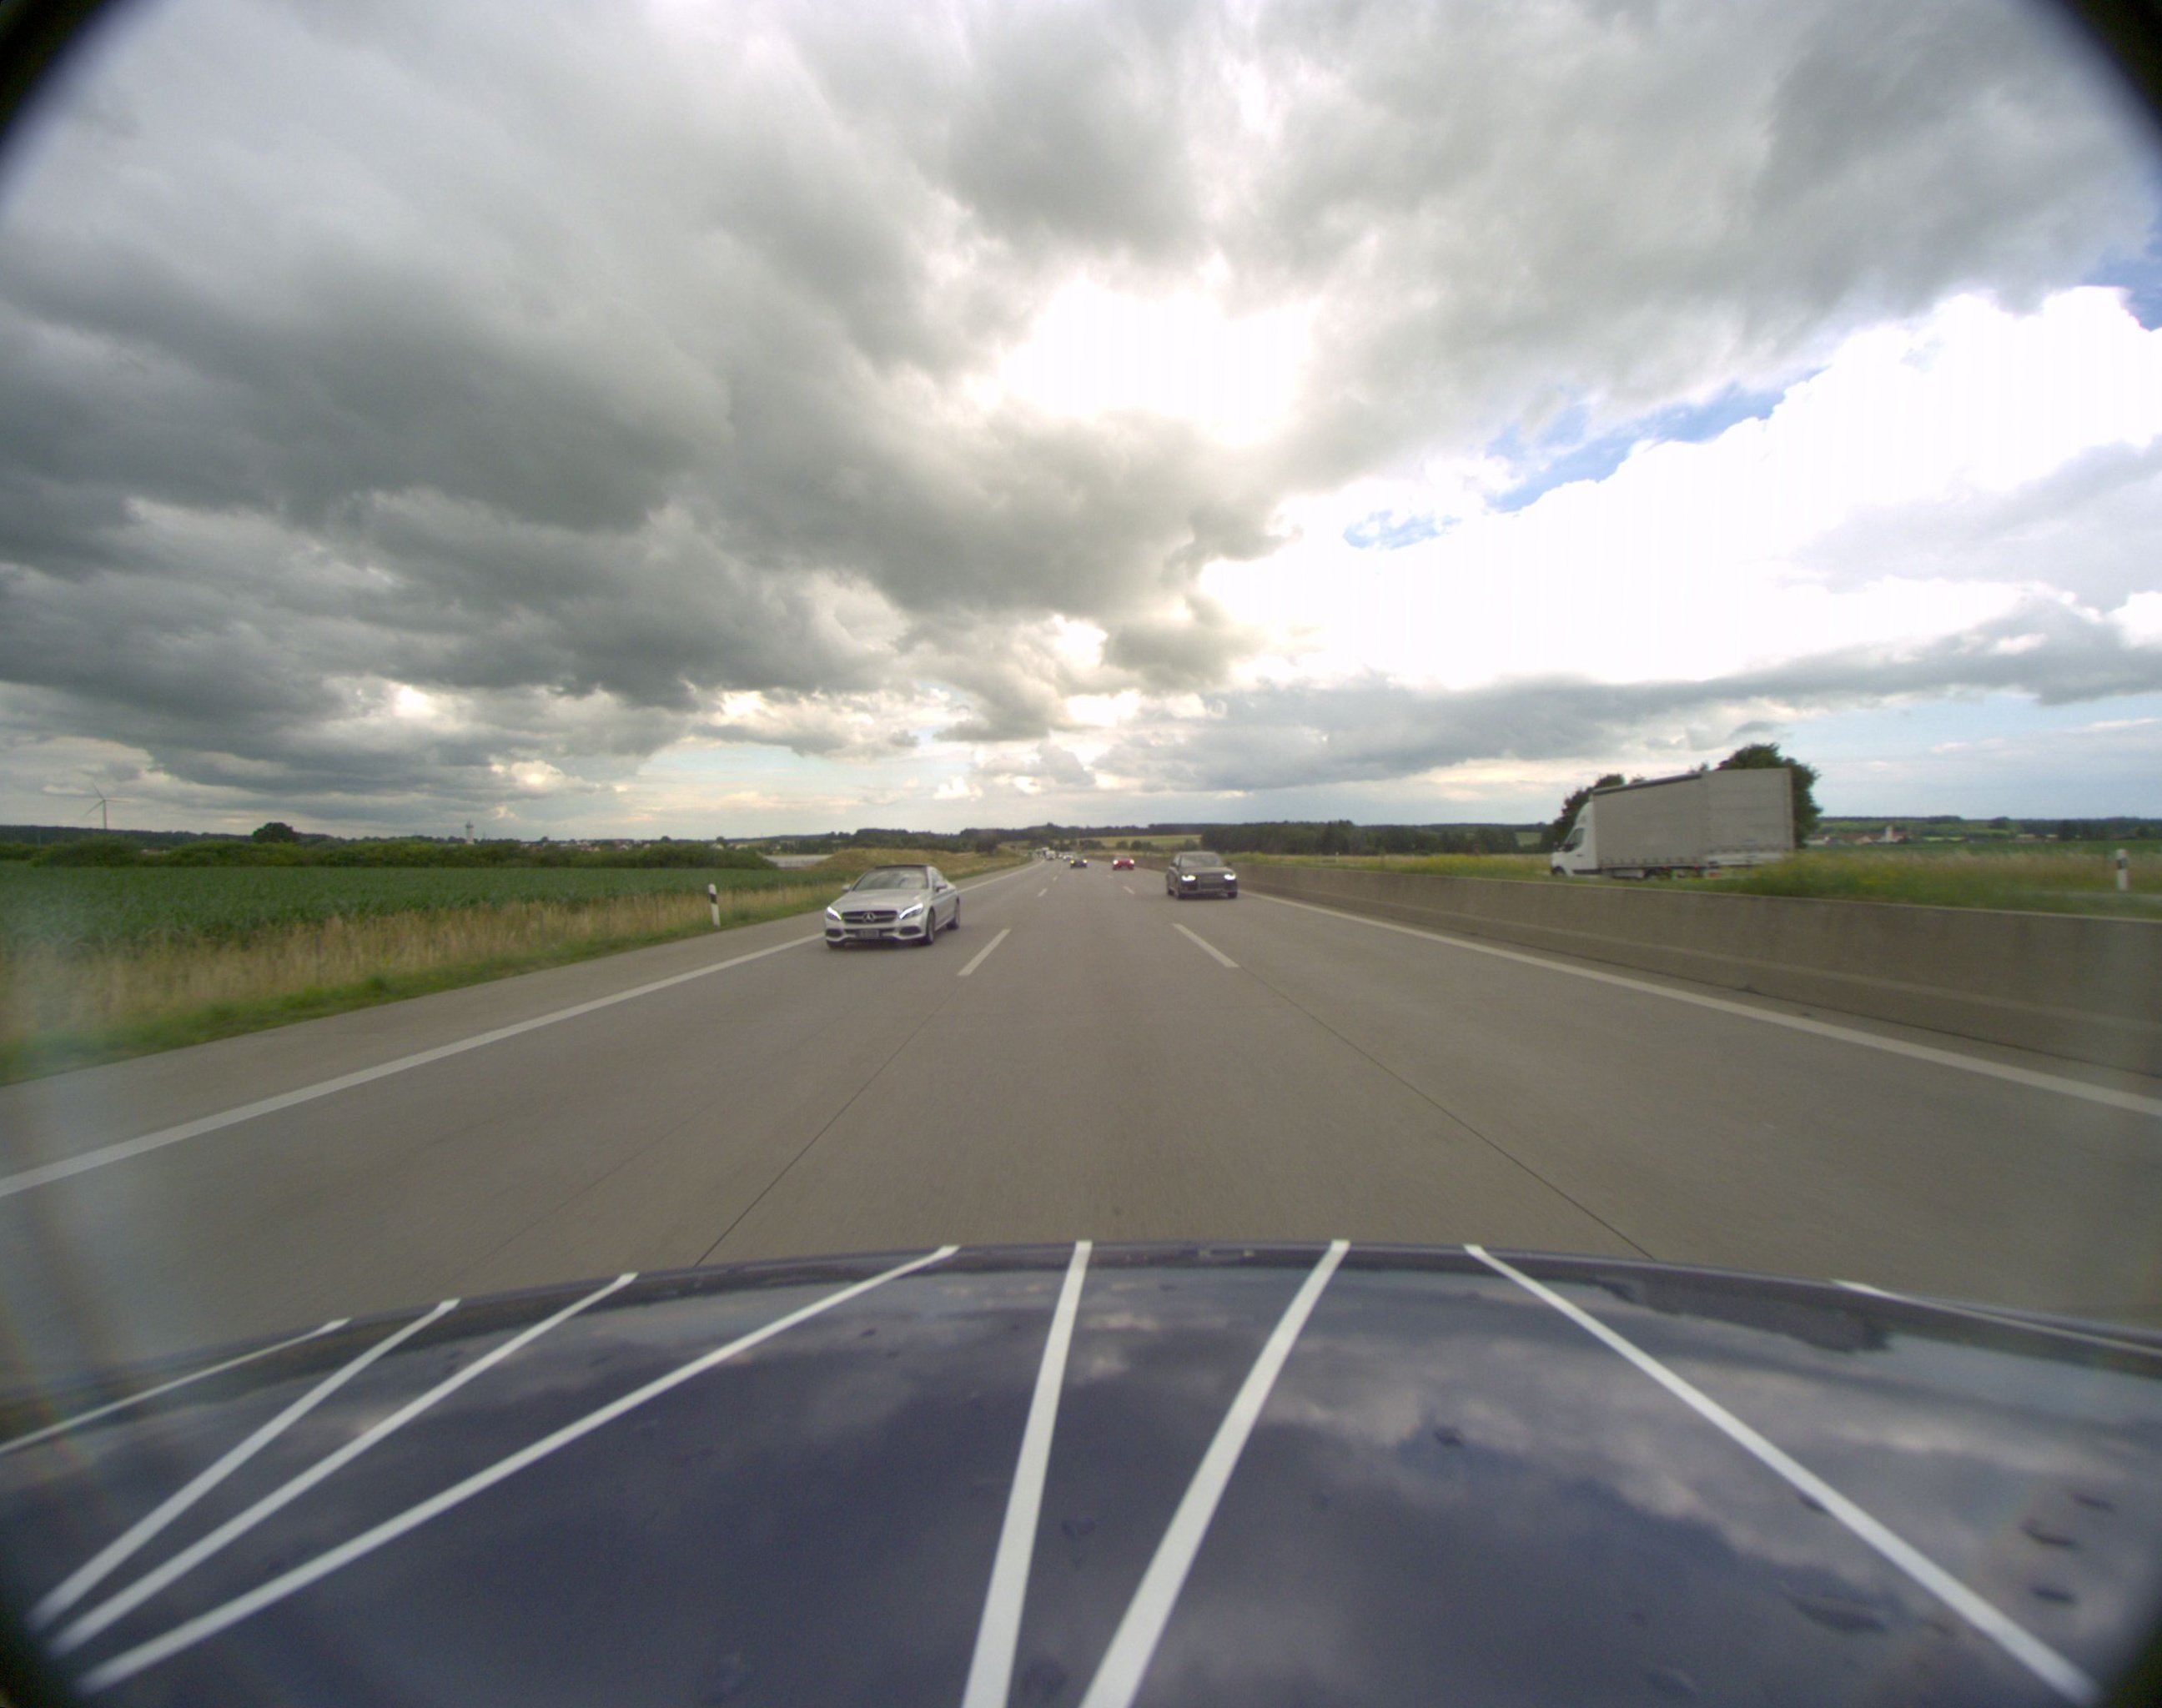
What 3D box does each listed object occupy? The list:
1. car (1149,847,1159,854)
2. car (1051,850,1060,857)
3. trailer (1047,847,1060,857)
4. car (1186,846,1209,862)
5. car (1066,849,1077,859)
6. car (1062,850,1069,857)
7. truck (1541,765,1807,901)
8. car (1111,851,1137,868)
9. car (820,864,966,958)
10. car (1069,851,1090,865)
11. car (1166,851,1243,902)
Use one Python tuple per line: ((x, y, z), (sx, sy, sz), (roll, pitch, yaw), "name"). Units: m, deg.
((17.134, -0.746, 178.850), (1.902, 1.462, 4.848), (-2, 1, -1), "car")
((-6.637, -0.221, 196.669), (1.945, 1.799, 5.028), (-2, 1, -7), "car")
((-7.344, -0.633, 202.488), (2.616, 2.519, 6.716), (-2, 1, -7), "trailer")
((12.657, 0.001, 82.667), (1.929, 1.626, 3.999), (-2, 1, 0), "car")
((-1.985, -0.027, 158.391), (1.999, 2.002, 3.999), (-2, 0, -3), "car")
((-4.827, -0.030, 232.961), (1.810, 2.002, 3.840), (-3, 1, -6), "car")
((17.053, -0.594, 22.658), (2.363, 3.309, 7.295), (-2, 1, 2), "truck")
((3.767, 0.466, 66.887), (1.822, 1.364, 3.781), (-3, 1, -3), "car")
((-3.450, 0.980, 14.778), (1.793, 1.395, 4.220), (-2, 1, -1), "car")
((-0.187, 0.403, 81.590), (1.692, 1.405, 3.997), (-2, 1, -7), "car")
((3.902, 0.658, 24.636), (1.939, 1.464, 4.000), (-2, 0, 2), "car")
